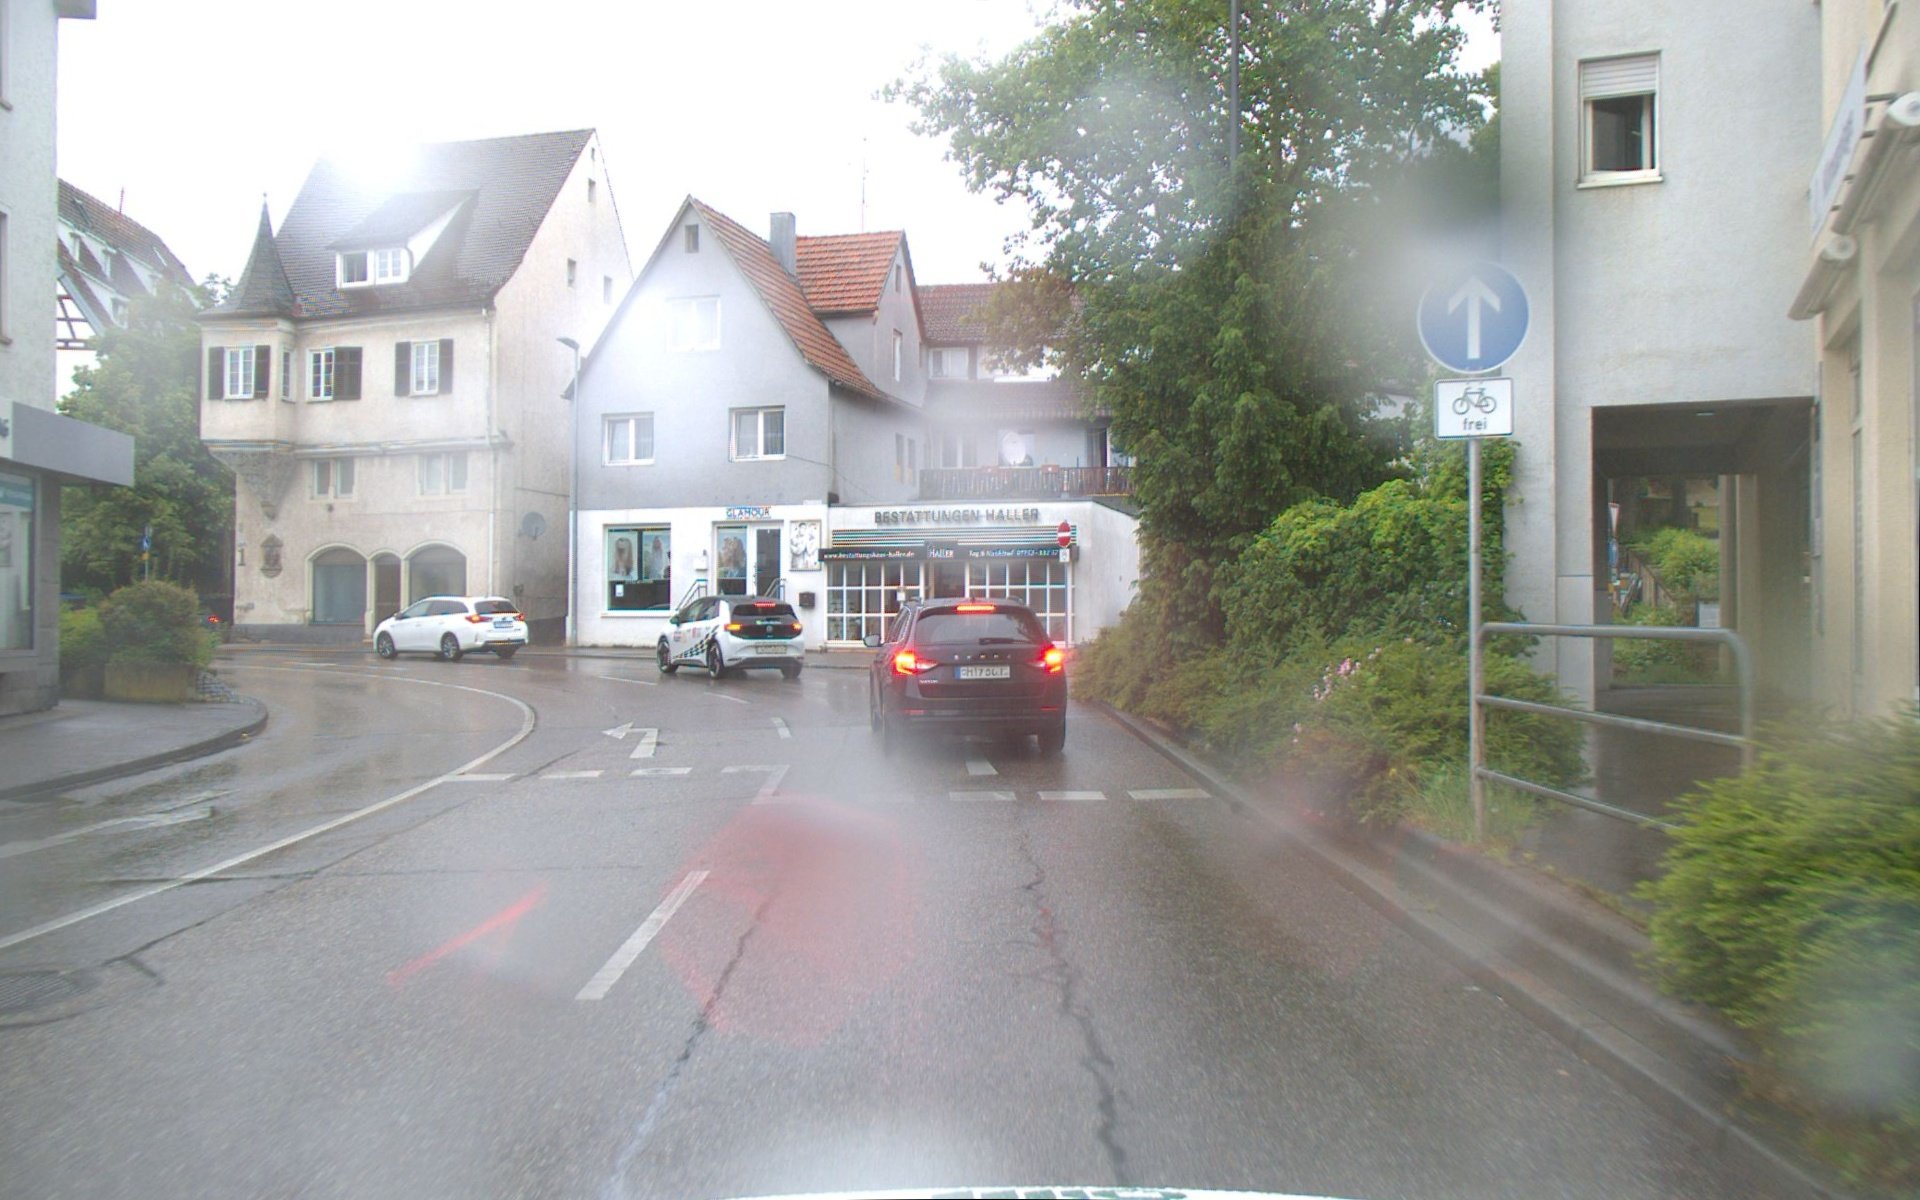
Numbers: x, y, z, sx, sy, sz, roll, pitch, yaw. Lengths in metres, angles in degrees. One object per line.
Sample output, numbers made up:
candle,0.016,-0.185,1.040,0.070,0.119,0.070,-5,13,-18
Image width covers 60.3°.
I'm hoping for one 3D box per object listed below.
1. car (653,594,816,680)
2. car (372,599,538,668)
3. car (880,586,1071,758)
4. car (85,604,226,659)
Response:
car,-4.516,0.672,32.575,1.770,1.543,4.200,-2,1,-29
car,-12.153,0.768,39.698,4.082,1.491,1.784,1,2,37
car,0.040,0.624,16.926,1.697,1.475,4.239,0,1,-3
car,-22.094,0.848,45.401,3.681,1.385,1.522,1,1,26
